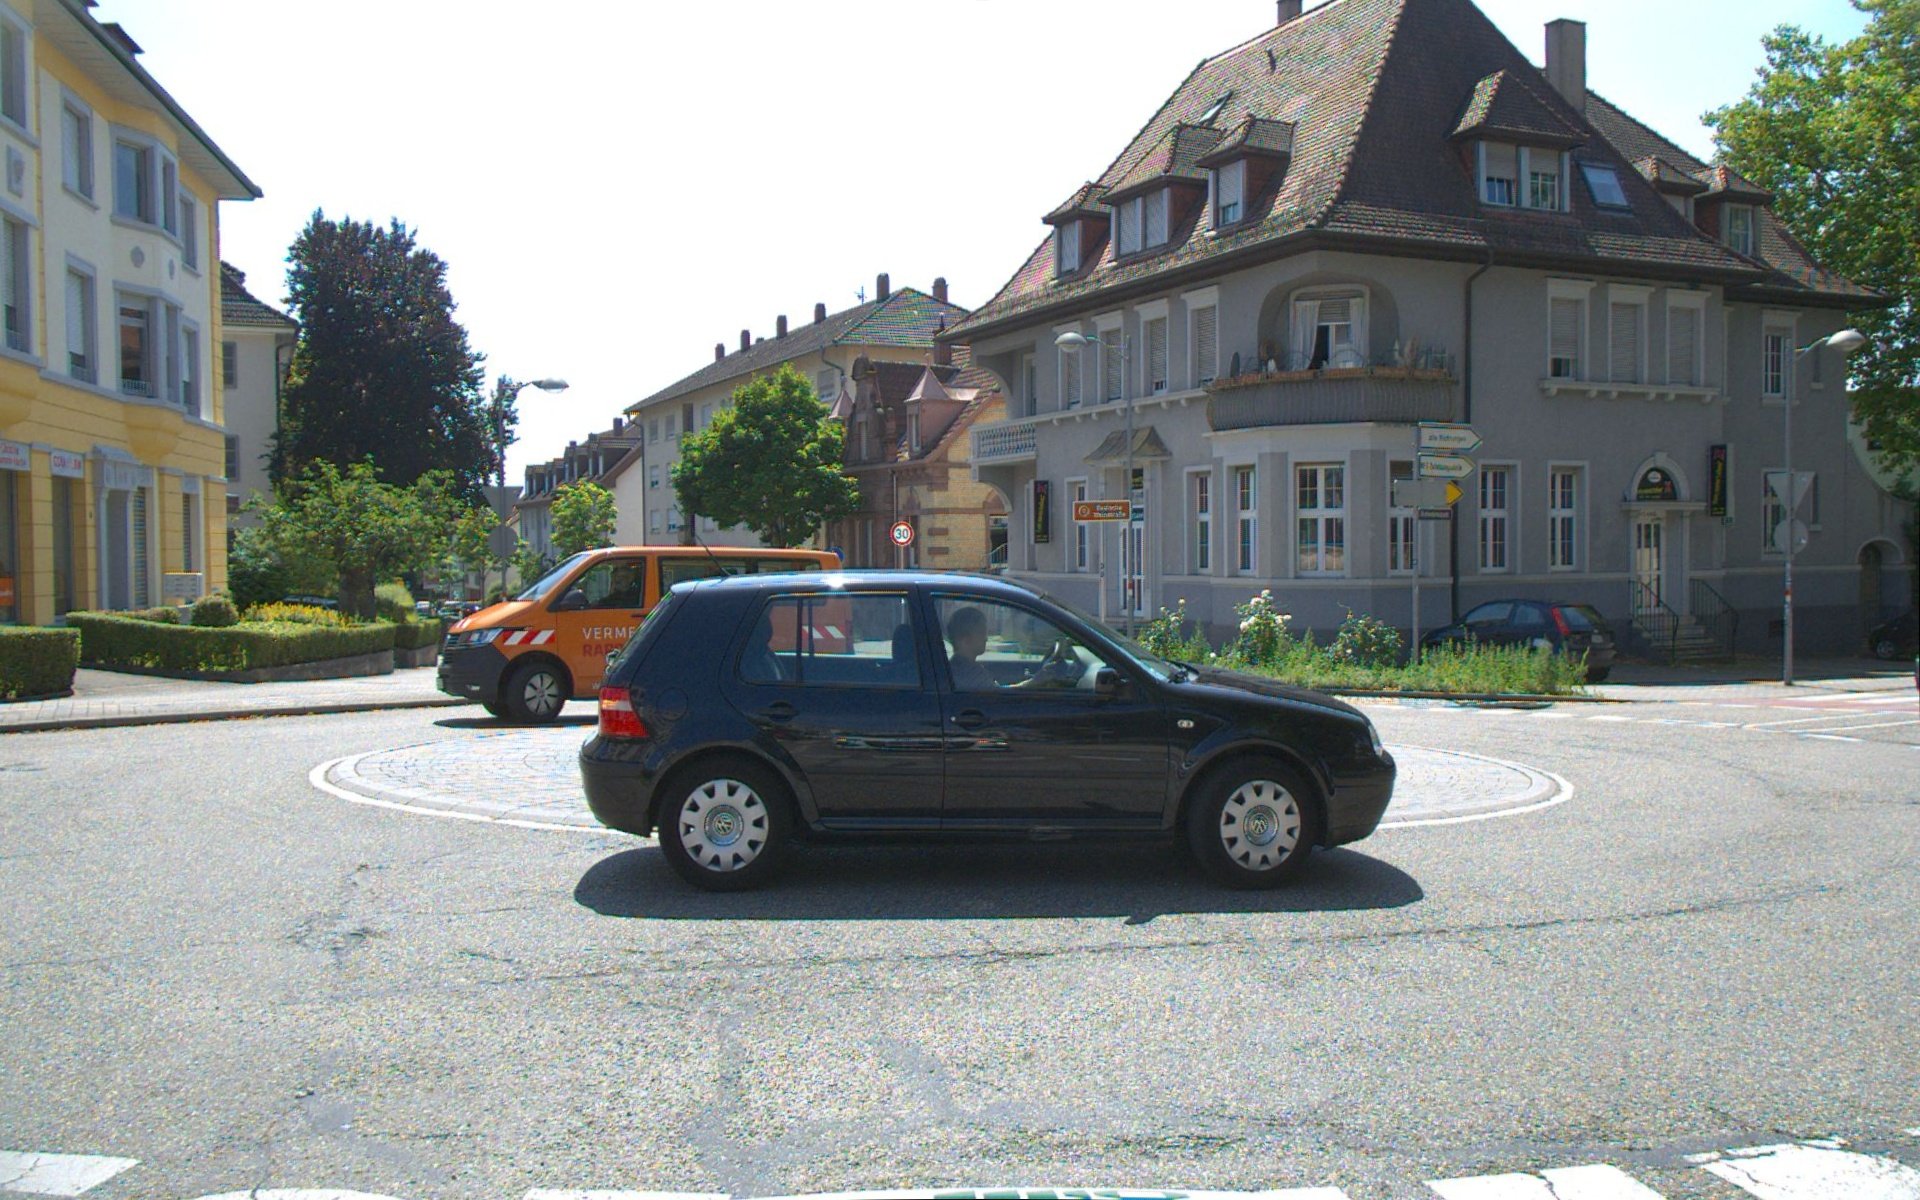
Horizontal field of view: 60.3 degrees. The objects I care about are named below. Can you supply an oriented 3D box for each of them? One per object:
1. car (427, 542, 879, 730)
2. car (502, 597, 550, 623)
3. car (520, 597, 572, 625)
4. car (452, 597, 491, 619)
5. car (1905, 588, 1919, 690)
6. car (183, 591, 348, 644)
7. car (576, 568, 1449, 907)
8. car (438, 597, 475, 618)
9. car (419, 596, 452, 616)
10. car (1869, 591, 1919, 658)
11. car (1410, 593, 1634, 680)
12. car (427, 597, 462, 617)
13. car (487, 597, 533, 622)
[{"bbox_3d":[-3.581,0.342,19.392,4.938,1.993,1.936,-1,1,-24],"label":"car"},{"bbox_3d":[-26.015,0.600,98.971,1.969,1.535,4.381,0,0,-26],"label":"car"},{"bbox_3d":[-23.508,0.616,93.867,1.969,1.535,4.381,0,0,-26],"label":"car"},{"bbox_3d":[-34.641,0.559,117.246,1.969,1.535,4.381,0,0,-26],"label":"car"},{"bbox_3d":[15.981,0.591,25.465,2.759,1.557,1.549,0,0,-37],"label":"car"},{"bbox_3d":[-21.108,0.503,50.306,4.364,1.535,1.977,0,0,-33],"label":"car"},{"bbox_3d":[0.229,0.596,8.348,3.964,1.472,1.716,0,2,-4],"label":"car"},{"bbox_3d":[-37.336,0.552,122.593,1.969,1.535,4.381,0,0,-26],"label":"car"},{"bbox_3d":[-42.041,0.491,132.592,1.969,1.514,3.967,1,0,-26],"label":"car"},{"bbox_3d":[23.491,0.579,38.873,1.701,1.573,3.358,0,0,-30],"label":"car"},{"bbox_3d":[10.292,0.619,30.513,1.701,1.486,3.754,0,0,-30],"label":"car"},{"bbox_3d":[-39.883,0.541,127.861,1.969,1.535,4.381,0,0,-26],"label":"car"},{"bbox_3d":[-28.106,0.589,103.301,1.969,1.535,4.381,0,0,-26],"label":"car"}]
